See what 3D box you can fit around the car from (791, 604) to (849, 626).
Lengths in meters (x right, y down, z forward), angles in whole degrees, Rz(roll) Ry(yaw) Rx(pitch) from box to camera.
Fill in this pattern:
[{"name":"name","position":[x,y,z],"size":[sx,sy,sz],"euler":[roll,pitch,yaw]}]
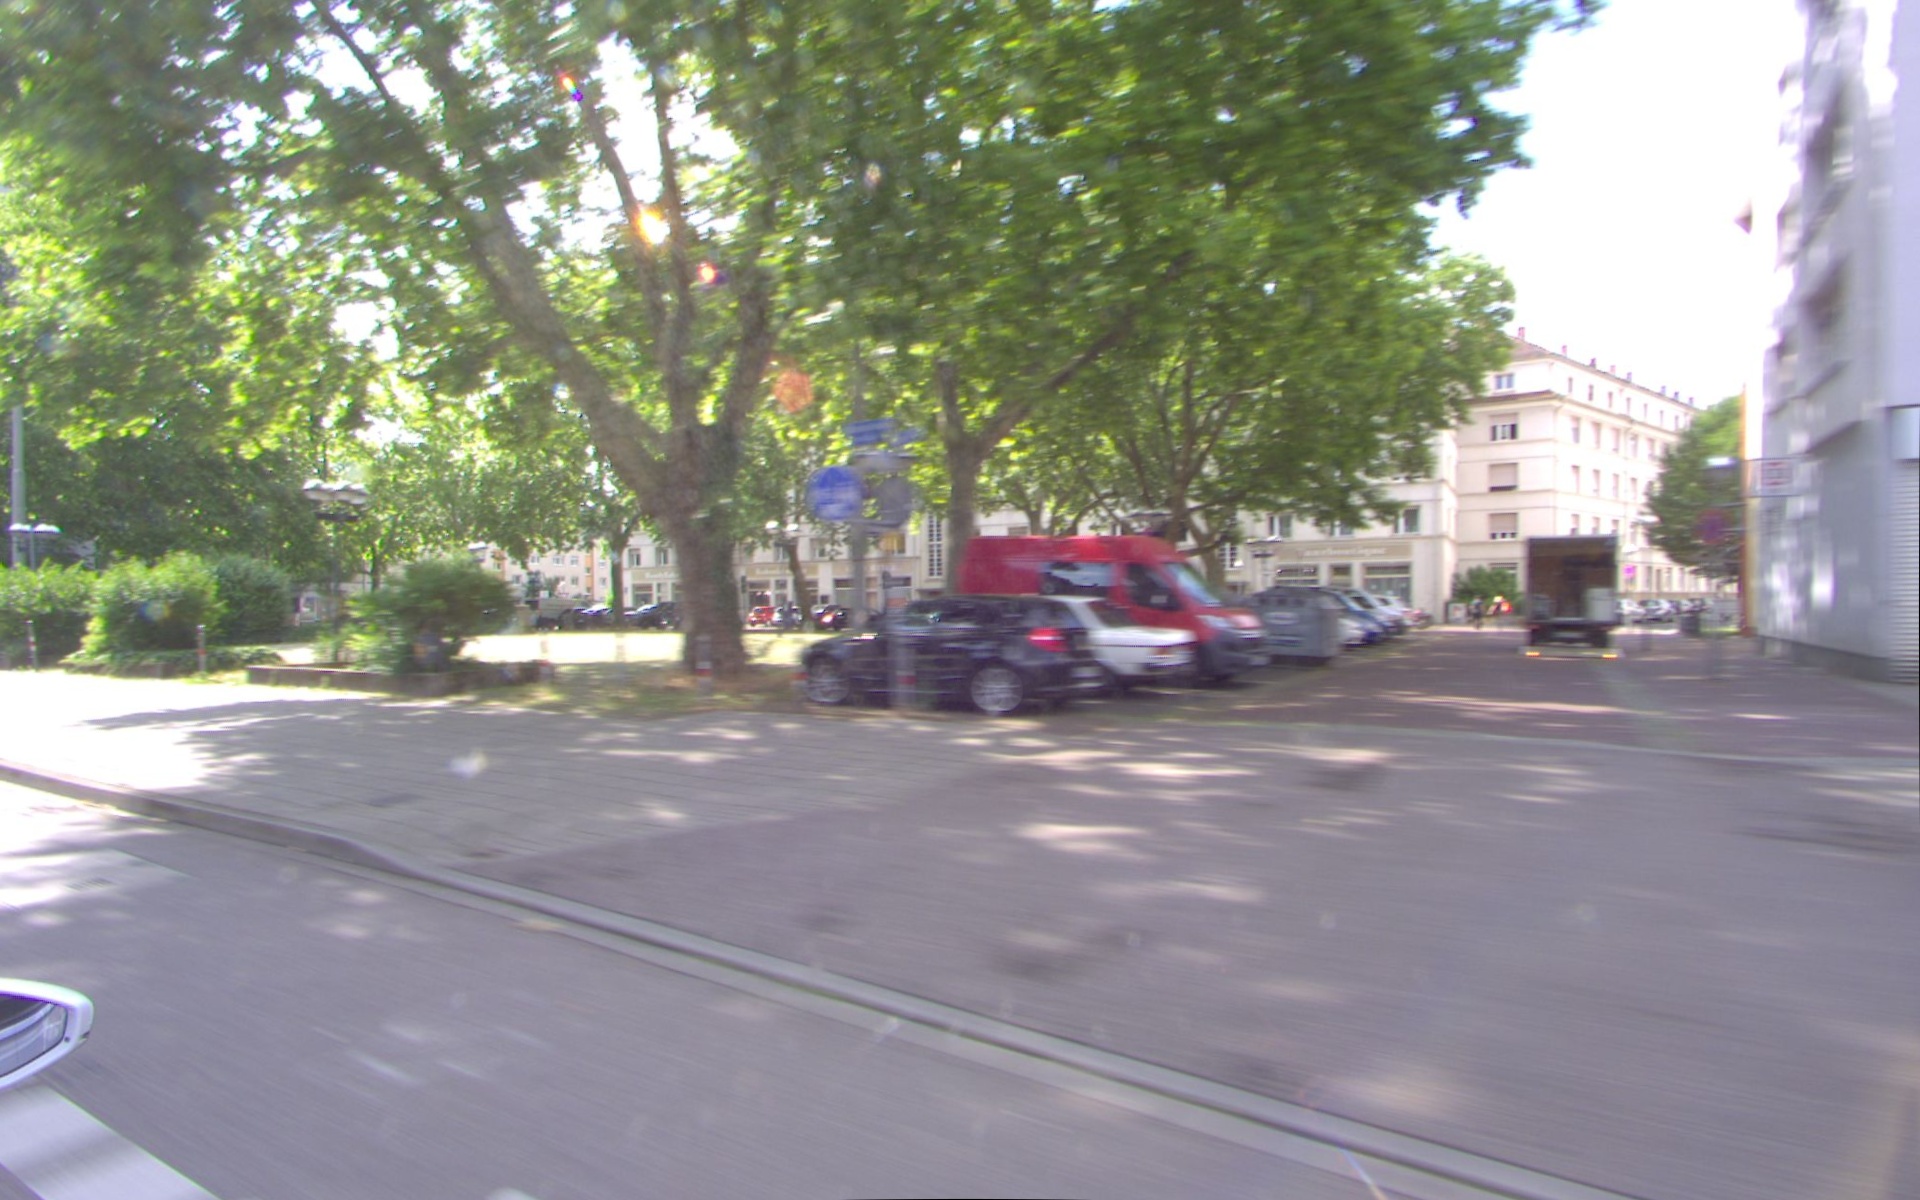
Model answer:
[{"name":"car","position":[-10.153,1.082,72.901],"size":[1.957,1.541,4.245],"euler":[0,0,32]}]

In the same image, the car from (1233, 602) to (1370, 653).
[{"name":"car","position":[10.071,0.780,29.553],"size":[3.587,1.433,1.643],"euler":[0,-1,30]}]

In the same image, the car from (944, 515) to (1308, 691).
[{"name":"car","position":[2.755,0.047,17.427],"size":[5.935,2.617,2.106],"euler":[0,1,34]}]

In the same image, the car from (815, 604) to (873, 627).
[{"name":"car","position":[-8.235,1.068,71.359],"size":[1.957,1.541,4.245],"euler":[0,0,32]}]

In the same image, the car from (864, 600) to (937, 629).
[{"name":"car","position":[-3.281,0.795,55.990],"size":[1.957,1.541,4.245],"euler":[0,0,32]}]

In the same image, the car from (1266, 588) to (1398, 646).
[{"name":"car","position":[12.603,0.563,33.946],"size":[3.986,1.844,1.820],"euler":[0,-1,30]}]

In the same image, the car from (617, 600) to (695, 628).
[{"name":"car","position":[-20.078,0.898,66.291],"size":[2.161,1.729,4.669],"euler":[0,0,34]}]

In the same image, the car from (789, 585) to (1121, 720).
[{"name":"car","position":[-0.116,0.586,12.777],"size":[3.983,1.490,1.646],"euler":[0,1,31]}]

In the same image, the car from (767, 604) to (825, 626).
[{"name":"car","position":[-12.170,1.089,74.664],"size":[1.957,1.541,4.245],"euler":[0,0,32]}]

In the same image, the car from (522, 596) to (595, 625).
[{"name":"car","position":[-28.464,0.724,71.121],"size":[2.048,2.040,4.404],"euler":[0,0,33]}]

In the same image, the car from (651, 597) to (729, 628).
[{"name":"car","position":[-17.520,0.803,65.247],"size":[2.161,1.955,4.669],"euler":[0,0,34]}]

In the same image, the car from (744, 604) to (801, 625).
[{"name":"car","position":[-14.276,1.109,76.433],"size":[1.957,1.541,4.245],"euler":[0,0,32]}]

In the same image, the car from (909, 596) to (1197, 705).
[{"name":"car","position":[1.367,0.674,14.970],"size":[3.980,1.448,1.647],"euler":[0,1,28]}]

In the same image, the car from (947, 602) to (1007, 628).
[{"name":"car","position":[1.150,0.959,65.531],"size":[1.957,1.570,4.416],"euler":[0,0,32]}]

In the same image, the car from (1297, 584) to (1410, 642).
[{"name":"car","position":[14.157,0.465,36.035],"size":[3.587,2.014,1.820],"euler":[0,-1,30]}]

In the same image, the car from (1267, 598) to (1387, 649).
[{"name":"car","position":[11.545,0.710,31.500],"size":[3.326,1.528,1.597],"euler":[0,-1,30]}]

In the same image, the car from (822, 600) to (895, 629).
[{"name":"car","position":[-5.776,0.800,57.472],"size":[1.957,1.541,4.245],"euler":[0,0,32]}]

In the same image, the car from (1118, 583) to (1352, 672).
[{"name":"car","position":[5.991,0.568,22.009],"size":[4.587,1.777,2.002],"euler":[0,-1,34]}]

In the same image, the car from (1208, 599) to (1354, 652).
[{"name":"car","position":[8.840,0.692,27.605],"size":[3.587,1.381,1.578],"euler":[0,-1,30]}]
